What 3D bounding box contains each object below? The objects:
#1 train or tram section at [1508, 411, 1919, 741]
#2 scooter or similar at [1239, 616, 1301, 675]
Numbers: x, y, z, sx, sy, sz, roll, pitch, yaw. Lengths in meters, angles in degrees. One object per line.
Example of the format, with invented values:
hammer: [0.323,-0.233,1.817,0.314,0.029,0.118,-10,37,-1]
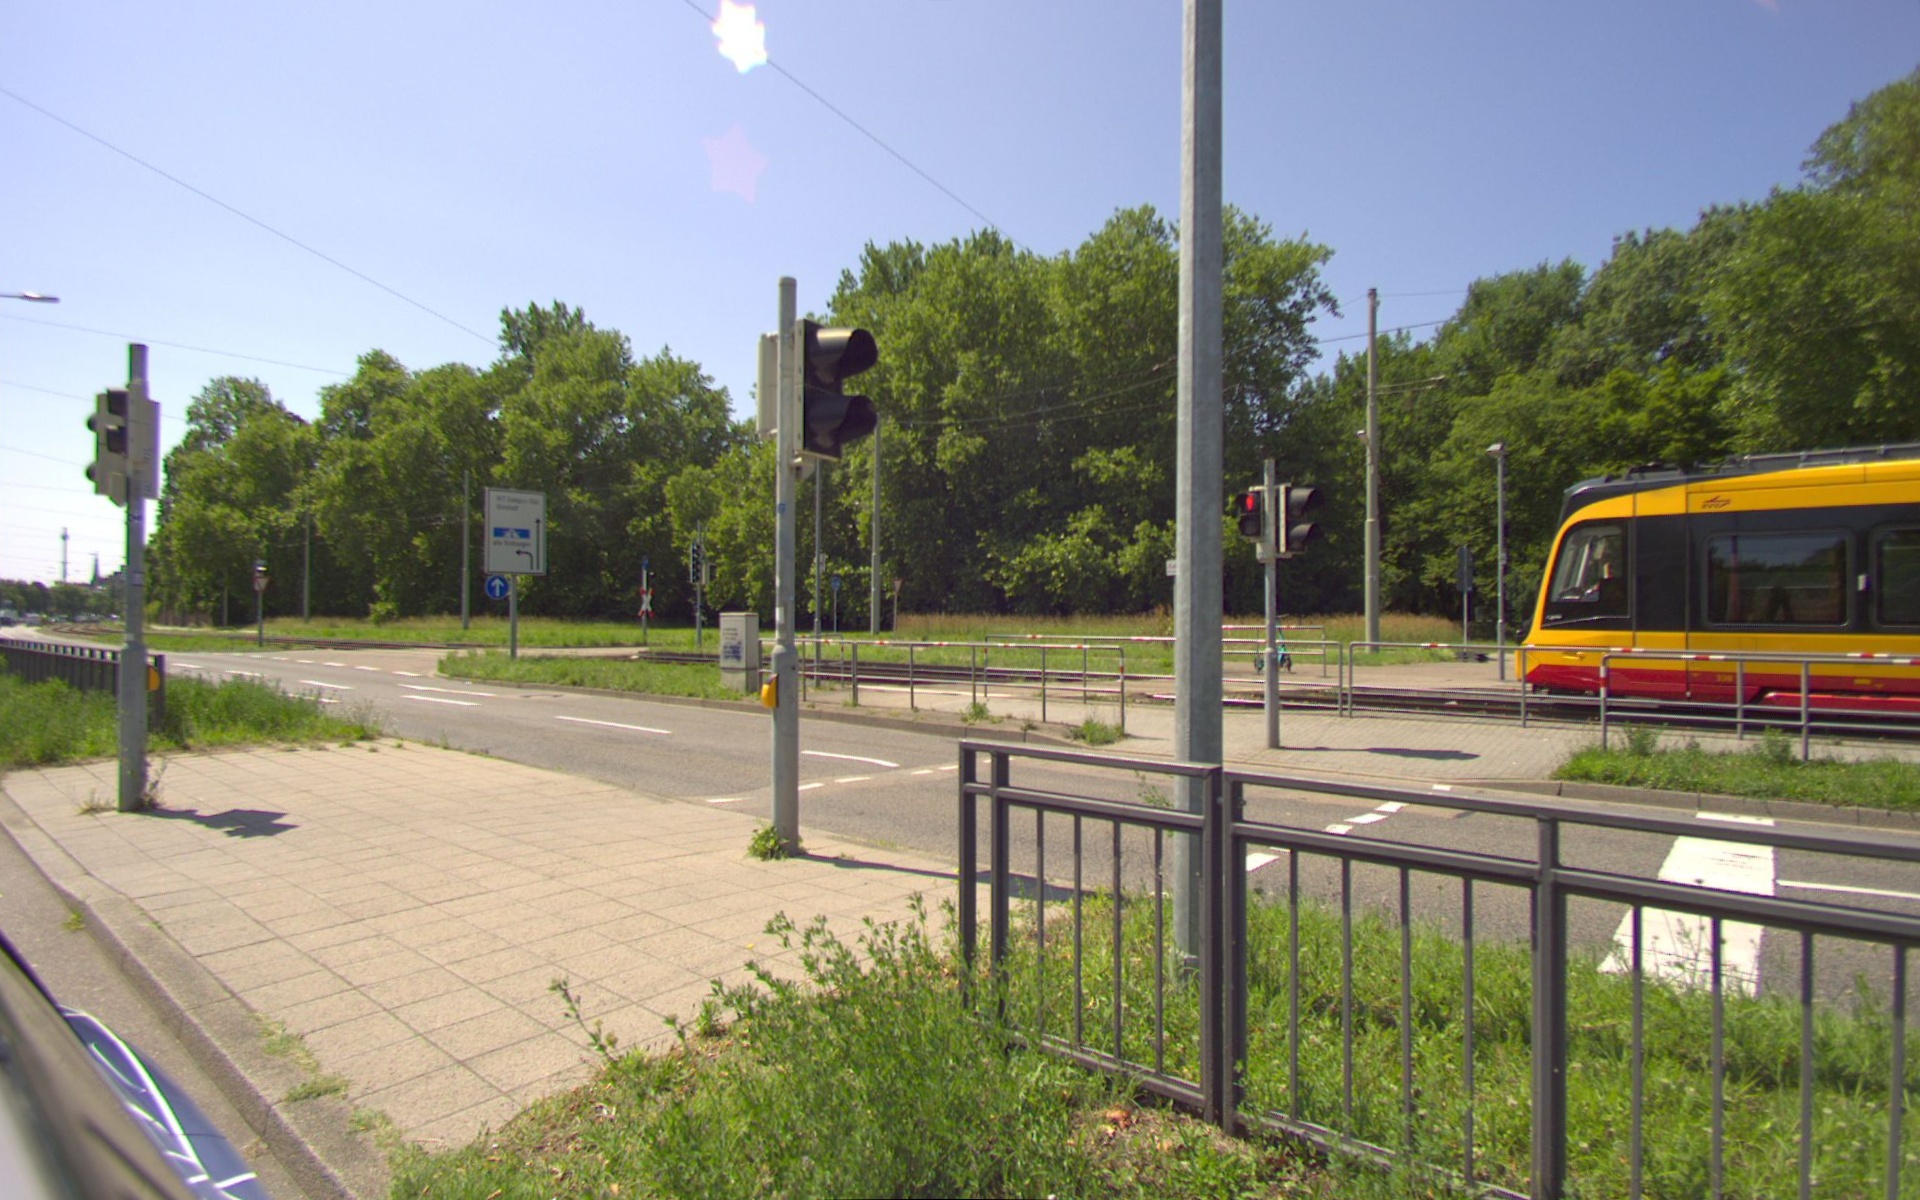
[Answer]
train or tram section: [13.313,-0.319,12.069,11.534,3.884,2.920,-1,0,41]
scooter or similar: [6.871,0.992,22.429,1.100,1.246,0.761,-1,0,41]
